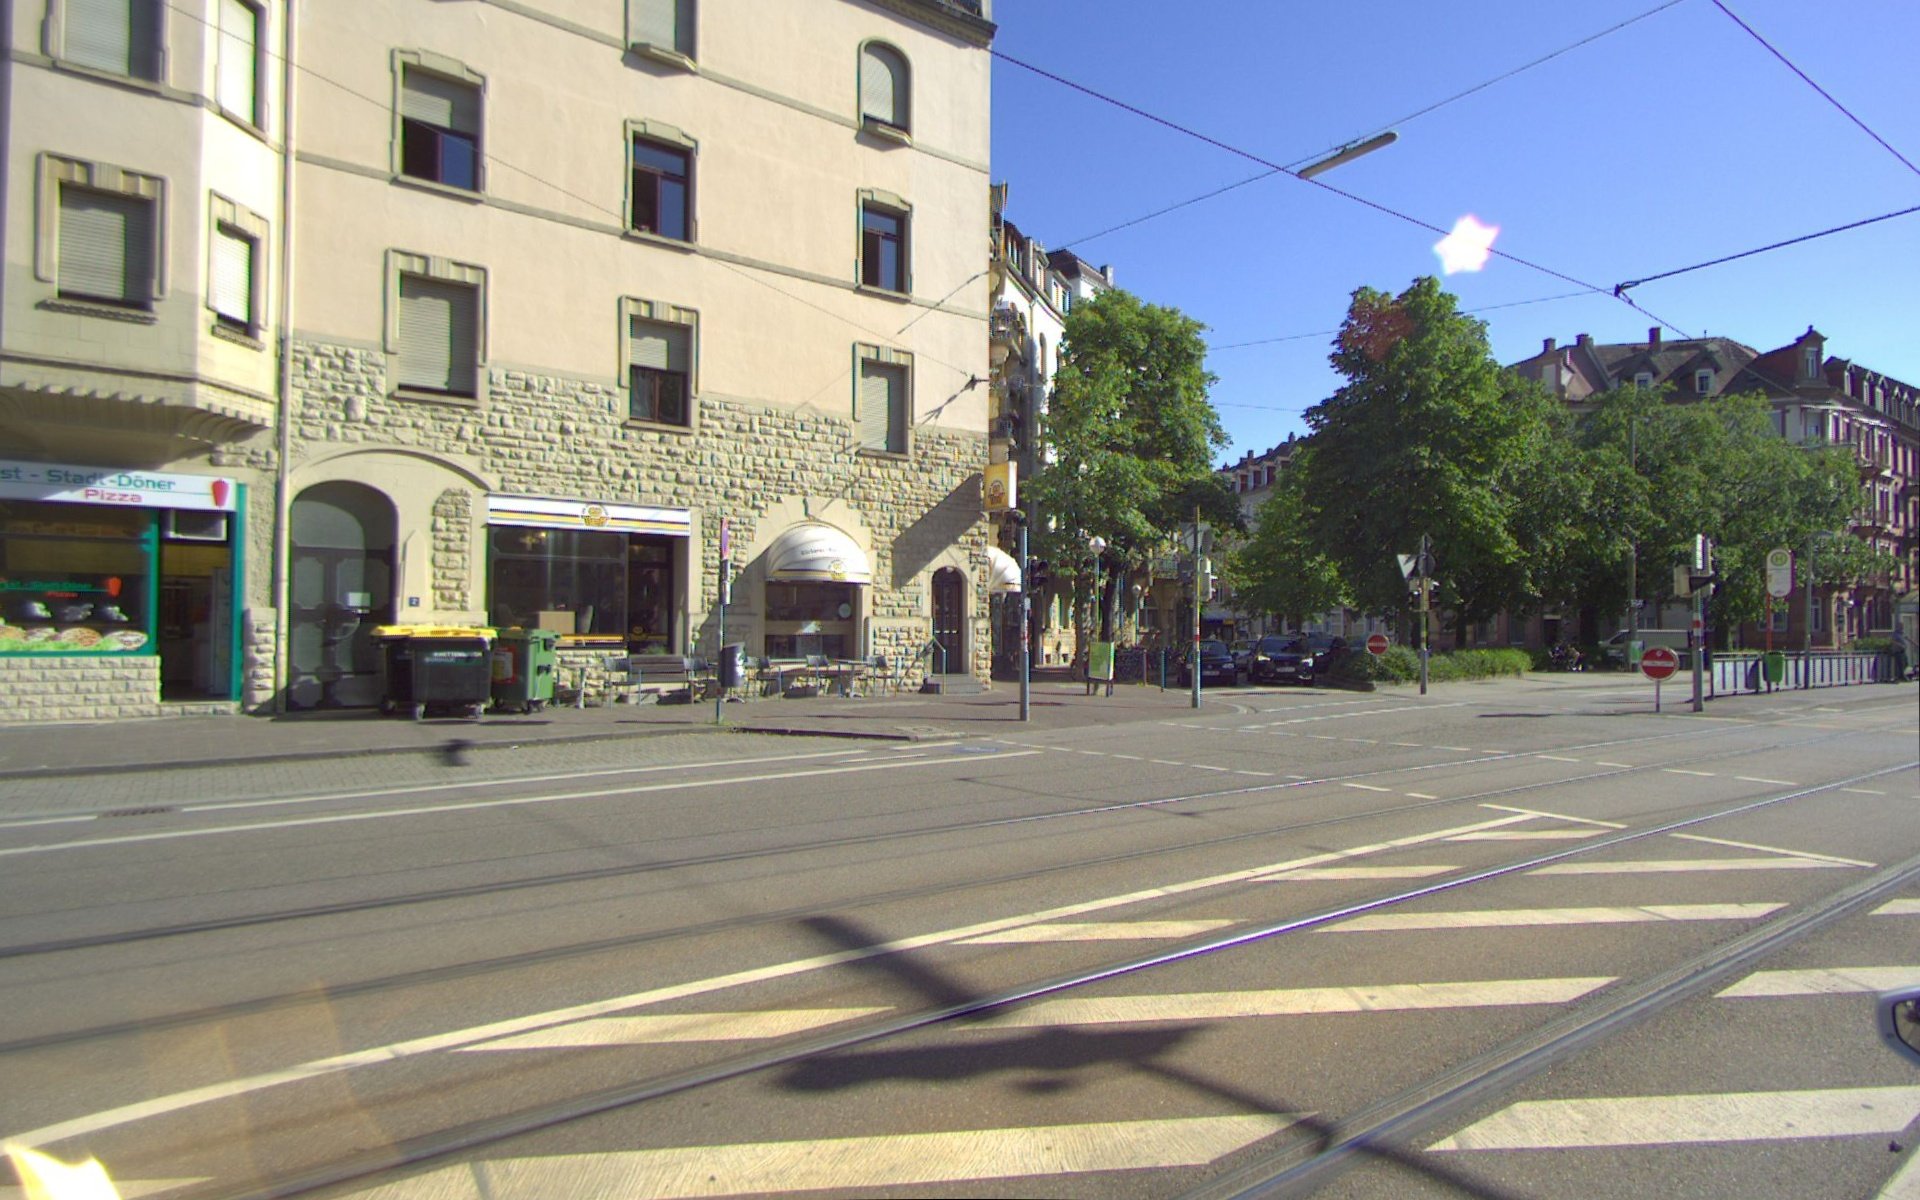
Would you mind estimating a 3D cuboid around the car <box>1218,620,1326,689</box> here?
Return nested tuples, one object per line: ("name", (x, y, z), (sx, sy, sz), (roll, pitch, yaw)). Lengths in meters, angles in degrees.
("car", (9.914, 1.699, 32.271), (1.962, 2.040, 3.998), (1, -2, -4))

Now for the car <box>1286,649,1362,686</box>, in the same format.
("car", (15.937, 2.923, 43.858), (1.729, 1.450, 3.977), (-2, -2, 43))

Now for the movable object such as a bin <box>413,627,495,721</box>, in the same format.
("movable object such as a bin", (-7.803, 1.125, 15.546), (1.012, 1.399, 0.853), (2, -1, -22))

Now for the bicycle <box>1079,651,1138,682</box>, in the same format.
("bicycle", (5.175, 2.321, 35.109), (1.997, 0.993, 0.611), (1, -1, 5))

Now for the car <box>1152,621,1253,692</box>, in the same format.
("car", (7.562, 1.734, 31.760), (1.962, 2.040, 3.998), (1, -2, -4))

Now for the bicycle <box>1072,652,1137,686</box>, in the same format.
("bicycle", (4.549, 2.171, 31.722), (1.997, 0.993, 0.611), (1, -1, 5))

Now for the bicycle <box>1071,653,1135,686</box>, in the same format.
("bicycle", (4.611, 2.231, 32.505), (1.997, 0.993, 0.611), (1, -1, 5))

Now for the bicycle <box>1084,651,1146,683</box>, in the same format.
("bicycle", (5.254, 2.272, 34.111), (1.997, 0.993, 0.611), (1, -1, 5))

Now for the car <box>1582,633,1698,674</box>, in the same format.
("car", (36.880, 2.889, 54.636), (4.935, 2.040, 1.998), (1, -2, 26))

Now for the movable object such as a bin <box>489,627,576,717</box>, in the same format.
("movable object such as a bin", (-7.033, 1.165, 16.562), (0.840, 1.399, 1.028), (1, -1, 12))

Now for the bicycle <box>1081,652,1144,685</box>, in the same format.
("bicycle", (5.038, 2.263, 33.274), (1.997, 0.993, 0.611), (1, -1, 5))

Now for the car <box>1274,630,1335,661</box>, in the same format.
("car", (24.486, 3.229, 71.558), (1.966, 2.040, 4.577), (2, -2, -14))

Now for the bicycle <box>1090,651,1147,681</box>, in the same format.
("bicycle", (5.760, 2.386, 36.500), (1.997, 0.993, 0.611), (1, -1, 5))

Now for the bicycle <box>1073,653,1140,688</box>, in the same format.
("bicycle", (4.503, 2.169, 30.925), (1.997, 0.993, 0.611), (1, -1, 5))

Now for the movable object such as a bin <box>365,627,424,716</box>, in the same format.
("movable object such as a bin", (-8.835, 1.105, 15.716), (0.647, 1.343, 0.853), (2, -1, -22))

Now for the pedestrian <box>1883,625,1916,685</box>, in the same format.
("pedestrian", (28.971, 1.689, 30.983), (0.574, 1.818, 0.602), (1, -2, -36))

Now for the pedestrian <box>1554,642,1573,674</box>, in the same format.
("pedestrian", (23.436, 2.257, 39.010), (0.569, 1.217, 0.607), (-2, -3, 28))

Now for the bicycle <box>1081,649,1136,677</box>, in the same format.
("bicycle", (5.634, 2.376, 38.125), (1.997, 0.993, 0.611), (1, -1, 5))

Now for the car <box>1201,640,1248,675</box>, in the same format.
("car", (11.705, 2.530, 44.716), (1.718, 1.450, 4.003), (-1, -2, 11))
